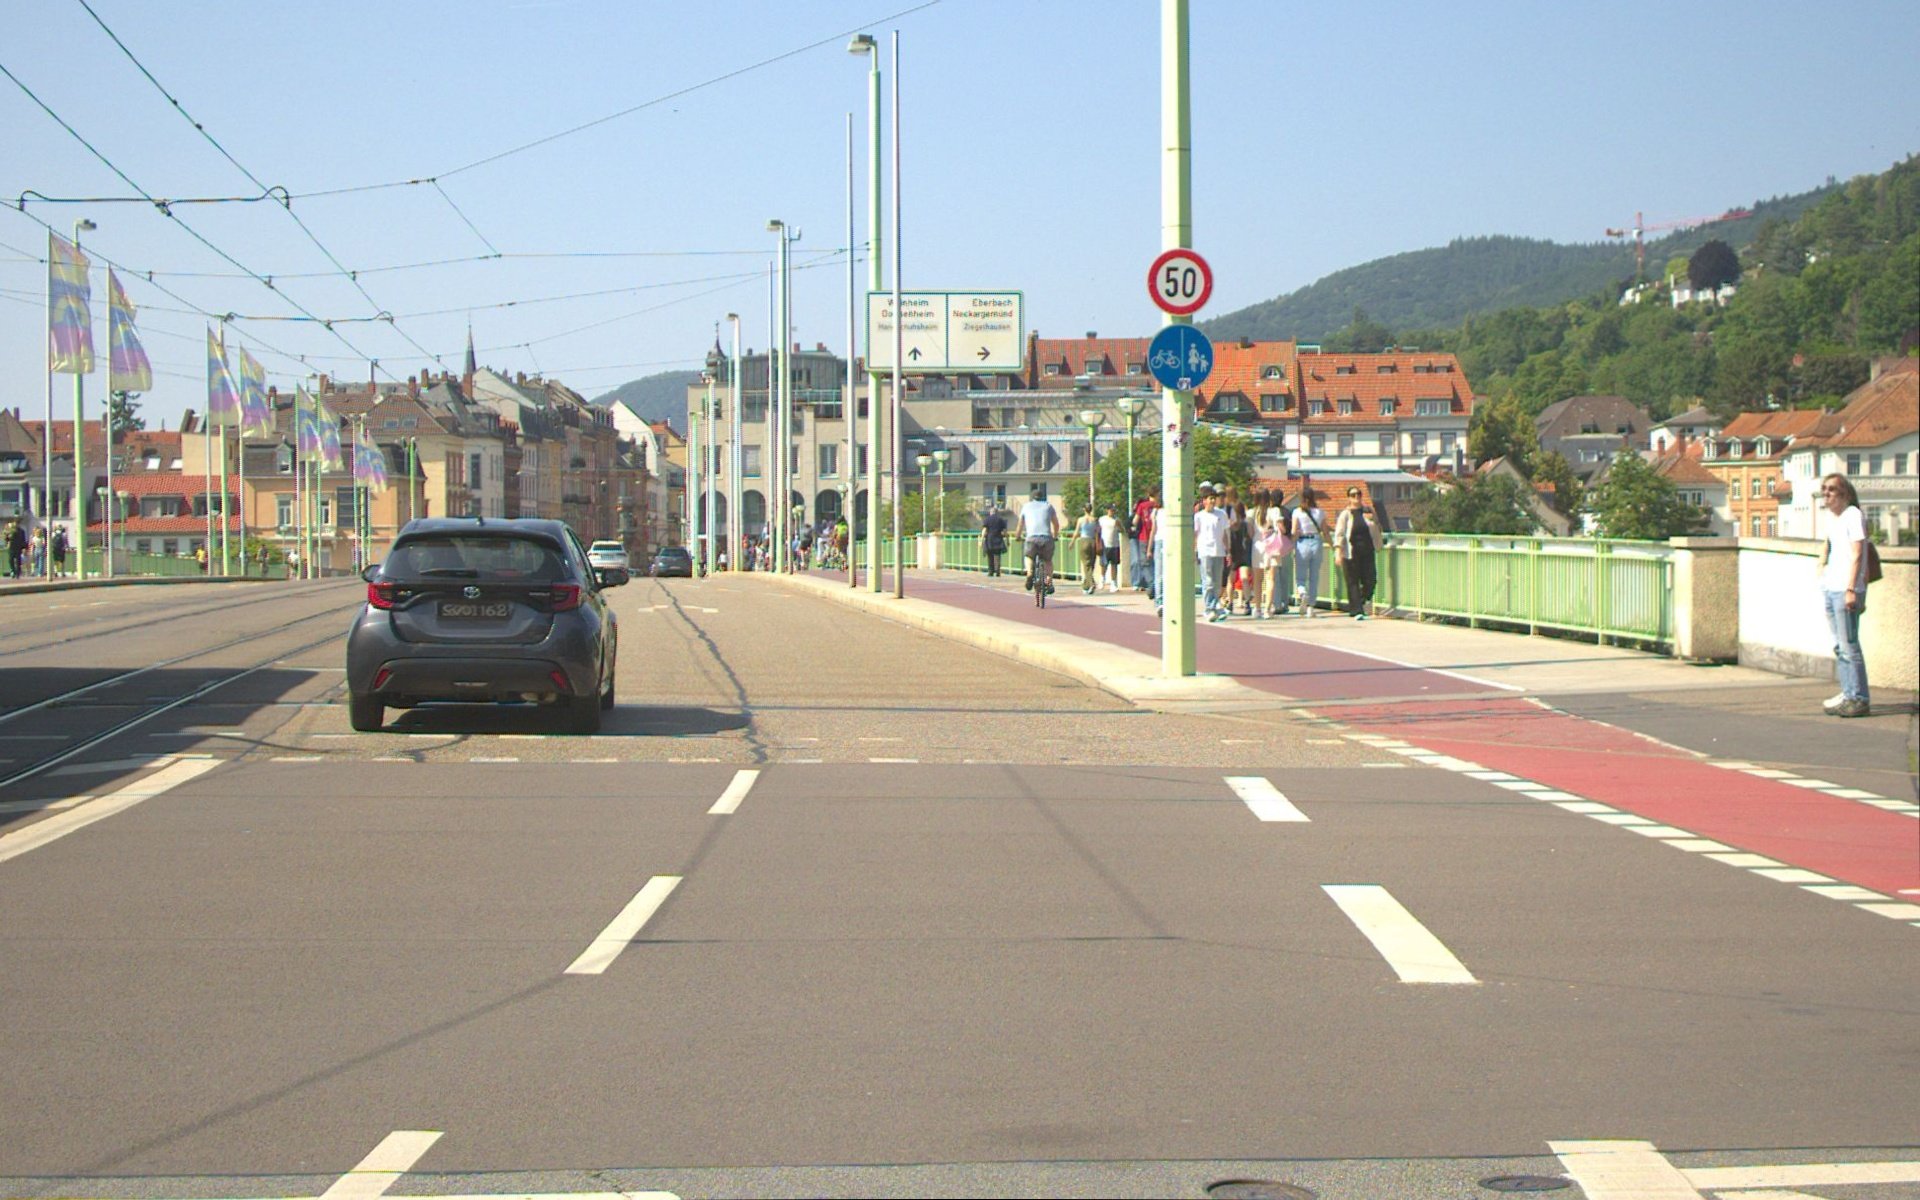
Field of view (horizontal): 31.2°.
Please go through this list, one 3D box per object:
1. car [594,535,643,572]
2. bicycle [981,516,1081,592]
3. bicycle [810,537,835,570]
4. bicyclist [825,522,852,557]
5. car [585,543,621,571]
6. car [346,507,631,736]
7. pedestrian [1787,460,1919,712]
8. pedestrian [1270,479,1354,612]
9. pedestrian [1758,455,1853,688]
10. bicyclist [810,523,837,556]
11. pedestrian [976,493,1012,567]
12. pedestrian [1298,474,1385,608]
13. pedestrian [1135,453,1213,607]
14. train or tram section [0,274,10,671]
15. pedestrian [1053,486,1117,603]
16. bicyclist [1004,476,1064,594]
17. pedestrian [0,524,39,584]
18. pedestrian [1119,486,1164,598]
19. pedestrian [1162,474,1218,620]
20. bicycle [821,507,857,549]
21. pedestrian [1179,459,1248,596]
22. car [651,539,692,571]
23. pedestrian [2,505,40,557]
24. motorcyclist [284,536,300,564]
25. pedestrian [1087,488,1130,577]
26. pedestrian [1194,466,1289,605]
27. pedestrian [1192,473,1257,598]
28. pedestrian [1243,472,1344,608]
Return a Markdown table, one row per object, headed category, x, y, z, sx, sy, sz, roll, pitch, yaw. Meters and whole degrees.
| category | x | y | z | sx | sy | sz | roll | pitch | yaw |
| --- | --- | --- | --- | --- | --- | --- | --- | --- | --- |
| car | -14.387 | -1.955 | 144.579 | 1.803 | 1.464 | 4.001 | -2 | 1 | -8 |
| bicycle | 1.048 | -0.703 | 51.928 | 0.792 | 1.092 | 3.746 | -1 | 1 | -10 |
| bicycle | -4.367 | -1.472 | 109.222 | 0.618 | 1.034 | 2.051 | 0 | 1 | -8 |
| bicyclist | -3.622 | -1.802 | 102.604 | 0.666 | 1.041 | 0.981 | 0 | 1 | -10 |
| car | -21.665 | -2.618 | 208.638 | 1.993 | 1.711 | 4.001 | 0 | 1 | -8 |
| car | -3.526 | 0.092 | 25.170 | 1.909 | 1.535 | 4.001 | 0 | 1 | -10 |
| pedestrian | 6.652 | -0.109 | 25.610 | 0.774 | 1.849 | 0.644 | 0 | 1 | -3 |
| pedestrian | 4.468 | -0.690 | 43.659 | 0.833 | 1.671 | 0.886 | 0 | 0 | -12 |
| pedestrian | 6.446 | -0.220 | 26.219 | 0.534 | 1.754 | 0.577 | 0 | 1 | -3 |
| bicyclist | -4.343 | -1.929 | 109.146 | 0.735 | 1.027 | 1.176 | 0 | 1 | -8 |
| pedestrian | 0.814 | -1.664 | 81.827 | 0.654 | 1.737 | 0.979 | 0 | 2 | -12 |
| pedestrian | 4.688 | -0.730 | 42.299 | 0.799 | 1.629 | 0.950 | -1 | 1 | -11 |
| pedestrian | 2.811 | -0.914 | 45.317 | 0.803 | 2.007 | 0.954 | 0 | 0 | -11 |
| train or tram section | -9.725 | -1.027 | 26.949 | 2.469 | 3.764 | 11.853 | -1 | 2 | -6 |
| pedestrian | 2.169 | -0.966 | 59.613 | 0.873 | 2.007 | 1.059 | 0 | 0 | -11 |
| bicyclist | 1.102 | -0.974 | 51.610 | 0.673 | 1.738 | 1.151 | -1 | 1 | -10 |
| pedestrian | -28.658 | -1.415 | 104.485 | 1.097 | 1.752 | 1.295 | 2 | 2 | -8 |
| pedestrian | 2.896 | -0.924 | 54.805 | 0.585 | 1.787 | 0.632 | 0 | 0 | -11 |
| pedestrian | 2.855 | -0.657 | 42.709 | 0.549 | 1.793 | 0.646 | 0 | 0 | -11 |
| bicycle | -3.610 | -2.146 | 102.565 | 0.695 | 1.189 | 2.080 | -1 | 0 | -12 |
| pedestrian | 3.194 | -0.914 | 43.353 | 0.695 | 1.710 | 0.732 | 0 | 0 | -11 |
| car | -13.811 | -2.153 | 164.715 | 1.803 | 1.464 | 4.001 | -2 | 1 | -4 |
| pedestrian | -31.630 | -2.337 | 115.853 | 1.097 | 1.723 | 1.295 | 0 | 1 | -9 |
| motorcyclist | -36.390 | -2.709 | 187.318 | 0.800 | 1.544 | 1.069 | 0 | 1 | -6 |
| pedestrian | 2.630 | -1.196 | 61.120 | 0.649 | 1.557 | 0.692 | -1 | 2 | -5 |
| pedestrian | 3.563 | -0.815 | 43.596 | 0.984 | 1.744 | 0.930 | 0 | 0 | -11 |
| pedestrian | 3.523 | -0.852 | 45.793 | 0.654 | 1.644 | 0.868 | 0 | 0 | -10 |
| pedestrian | 4.436 | -0.803 | 45.815 | 0.984 | 1.763 | 1.255 | -1 | 1 | -11 |
